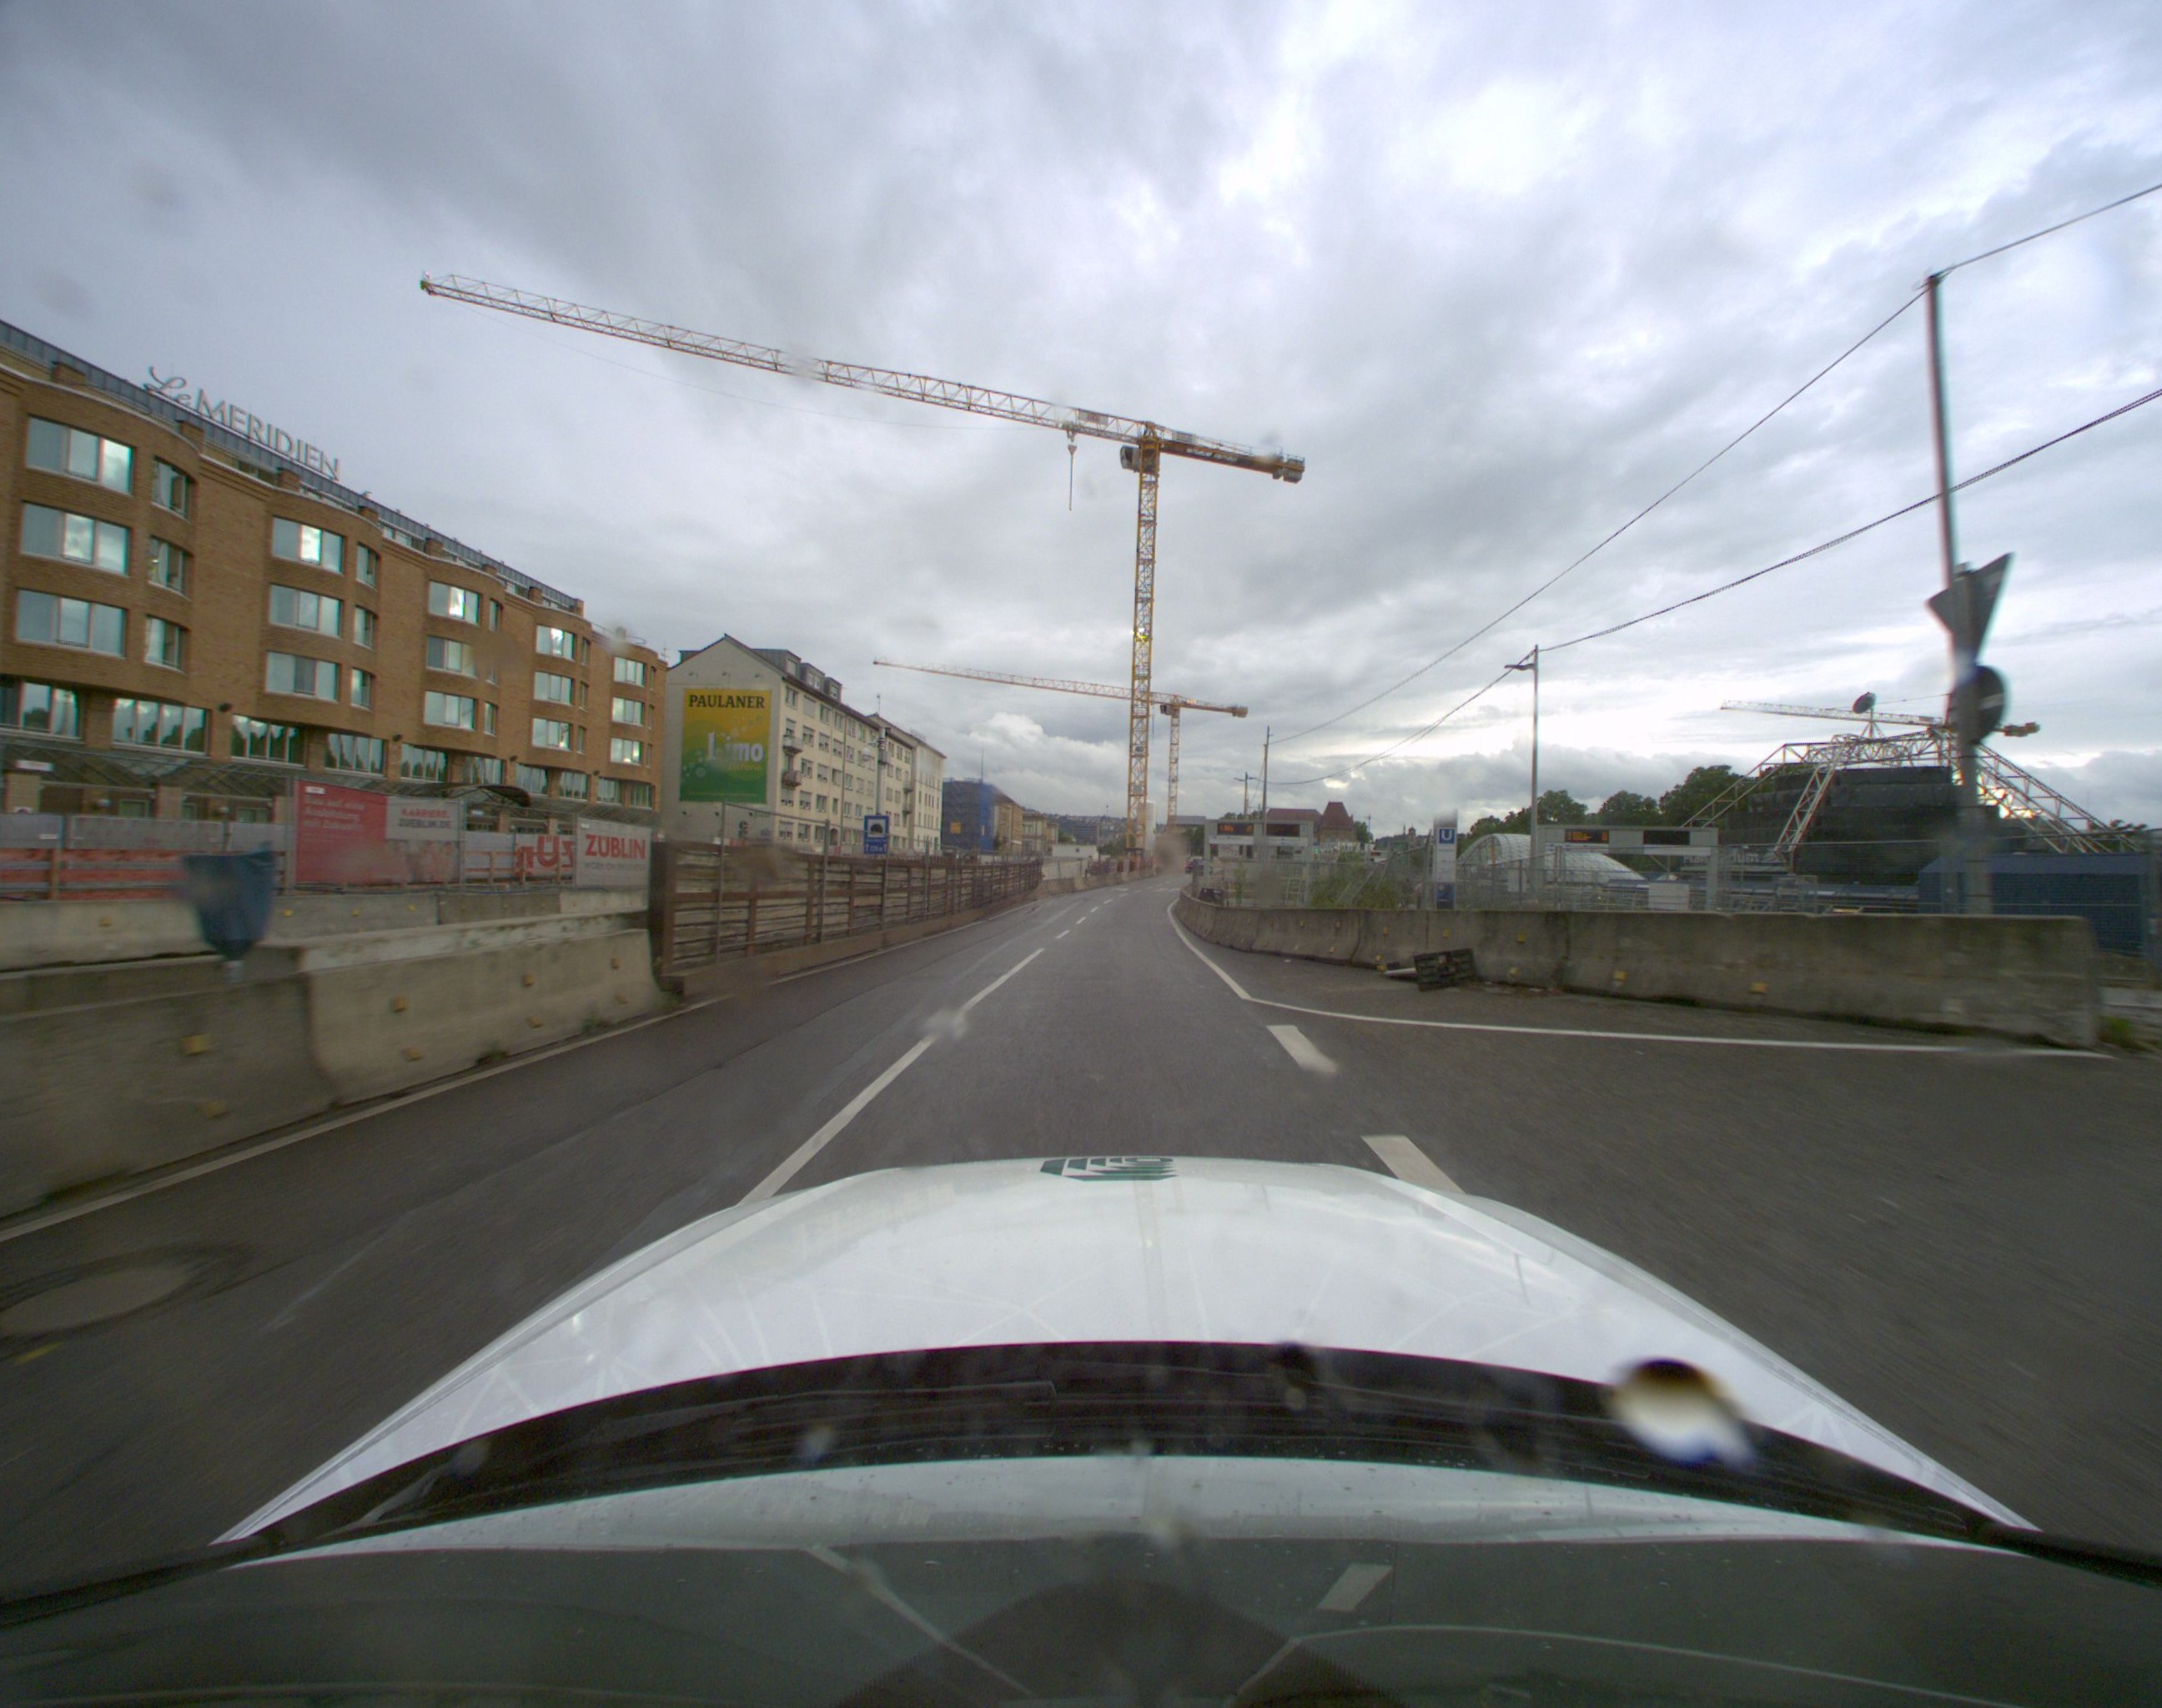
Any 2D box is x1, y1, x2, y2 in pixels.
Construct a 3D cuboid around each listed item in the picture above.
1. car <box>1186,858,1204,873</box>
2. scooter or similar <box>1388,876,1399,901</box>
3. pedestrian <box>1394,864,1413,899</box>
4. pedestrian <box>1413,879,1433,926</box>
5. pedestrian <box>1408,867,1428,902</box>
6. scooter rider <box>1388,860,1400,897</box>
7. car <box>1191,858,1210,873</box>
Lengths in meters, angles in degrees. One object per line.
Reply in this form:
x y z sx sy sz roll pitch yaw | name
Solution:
14.380 1.427 102.691 1.851 1.660 4.671 2 0 11 | car
15.284 1.686 39.834 0.486 1.179 1.102 0 0 22 | scooter or similar
16.989 1.440 42.896 0.686 1.778 1.024 1 -1 5 | pedestrian
13.360 1.889 31.810 0.683 1.778 0.820 0 -1 22 | pedestrian
17.726 1.590 42.840 0.722 1.778 1.024 1 -1 6 | pedestrian
15.291 1.194 39.833 0.516 1.755 0.703 0 0 22 | scooter rider
12.229 1.169 83.274 1.851 1.433 4.668 0 -1 10 | car
